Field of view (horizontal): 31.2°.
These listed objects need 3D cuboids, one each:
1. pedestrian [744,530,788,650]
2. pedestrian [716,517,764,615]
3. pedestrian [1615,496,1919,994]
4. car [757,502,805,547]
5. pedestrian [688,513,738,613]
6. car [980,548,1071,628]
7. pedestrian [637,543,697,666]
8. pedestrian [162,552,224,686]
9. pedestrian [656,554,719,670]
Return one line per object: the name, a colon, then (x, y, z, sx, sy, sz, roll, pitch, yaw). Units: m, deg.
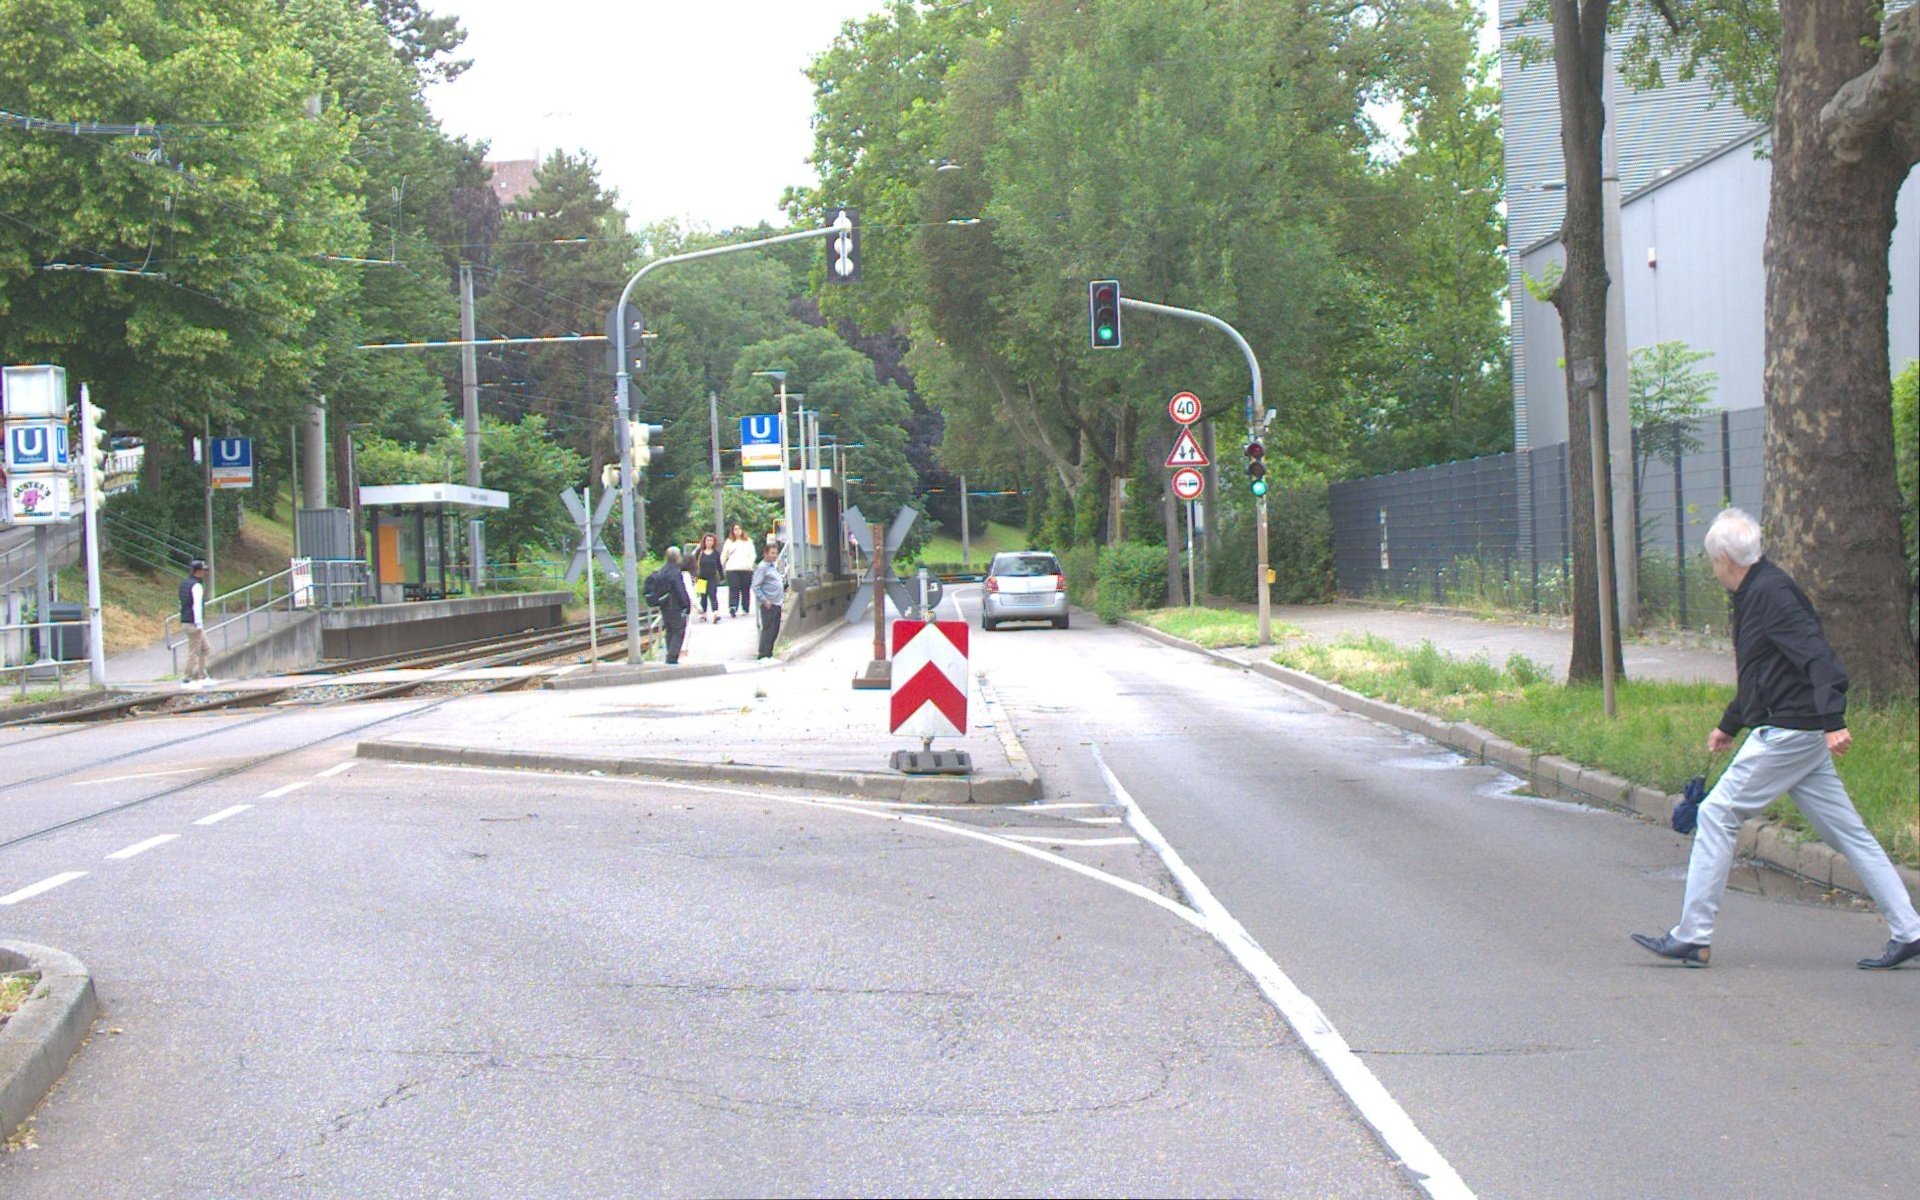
pedestrian: (-2.865, -0.157, 50.789, 0.550, 1.752, 0.737, 1, 0, 4)
pedestrian: (-3.774, -0.586, 58.946, 0.735, 1.659, 0.682, 1, 0, -11)
pedestrian: (3.025, 0.506, 12.677, 1.118, 1.754, 0.813, 1, 1, 16)
car: (-8.149, -3.432, 156.616, 1.993, 2.007, 4.000, 1, 1, -1)
pedestrian: (-4.165, -0.622, 57.941, 0.735, 1.659, 0.682, 1, 0, -11)
car: (1.337, -0.265, 71.471, 1.743, 1.593, 4.000, 1, 1, -1)
pedestrian: (-3.996, 0.062, 46.943, 0.735, 1.659, 0.682, 1, 0, 1)
pedestrian: (-10.522, 0.260, 47.147, 0.802, 1.815, 0.671, 1, 0, -14)
pedestrian: (-3.924, 0.170, 49.595, 0.680, 1.659, 0.737, 1, 0, 15)
